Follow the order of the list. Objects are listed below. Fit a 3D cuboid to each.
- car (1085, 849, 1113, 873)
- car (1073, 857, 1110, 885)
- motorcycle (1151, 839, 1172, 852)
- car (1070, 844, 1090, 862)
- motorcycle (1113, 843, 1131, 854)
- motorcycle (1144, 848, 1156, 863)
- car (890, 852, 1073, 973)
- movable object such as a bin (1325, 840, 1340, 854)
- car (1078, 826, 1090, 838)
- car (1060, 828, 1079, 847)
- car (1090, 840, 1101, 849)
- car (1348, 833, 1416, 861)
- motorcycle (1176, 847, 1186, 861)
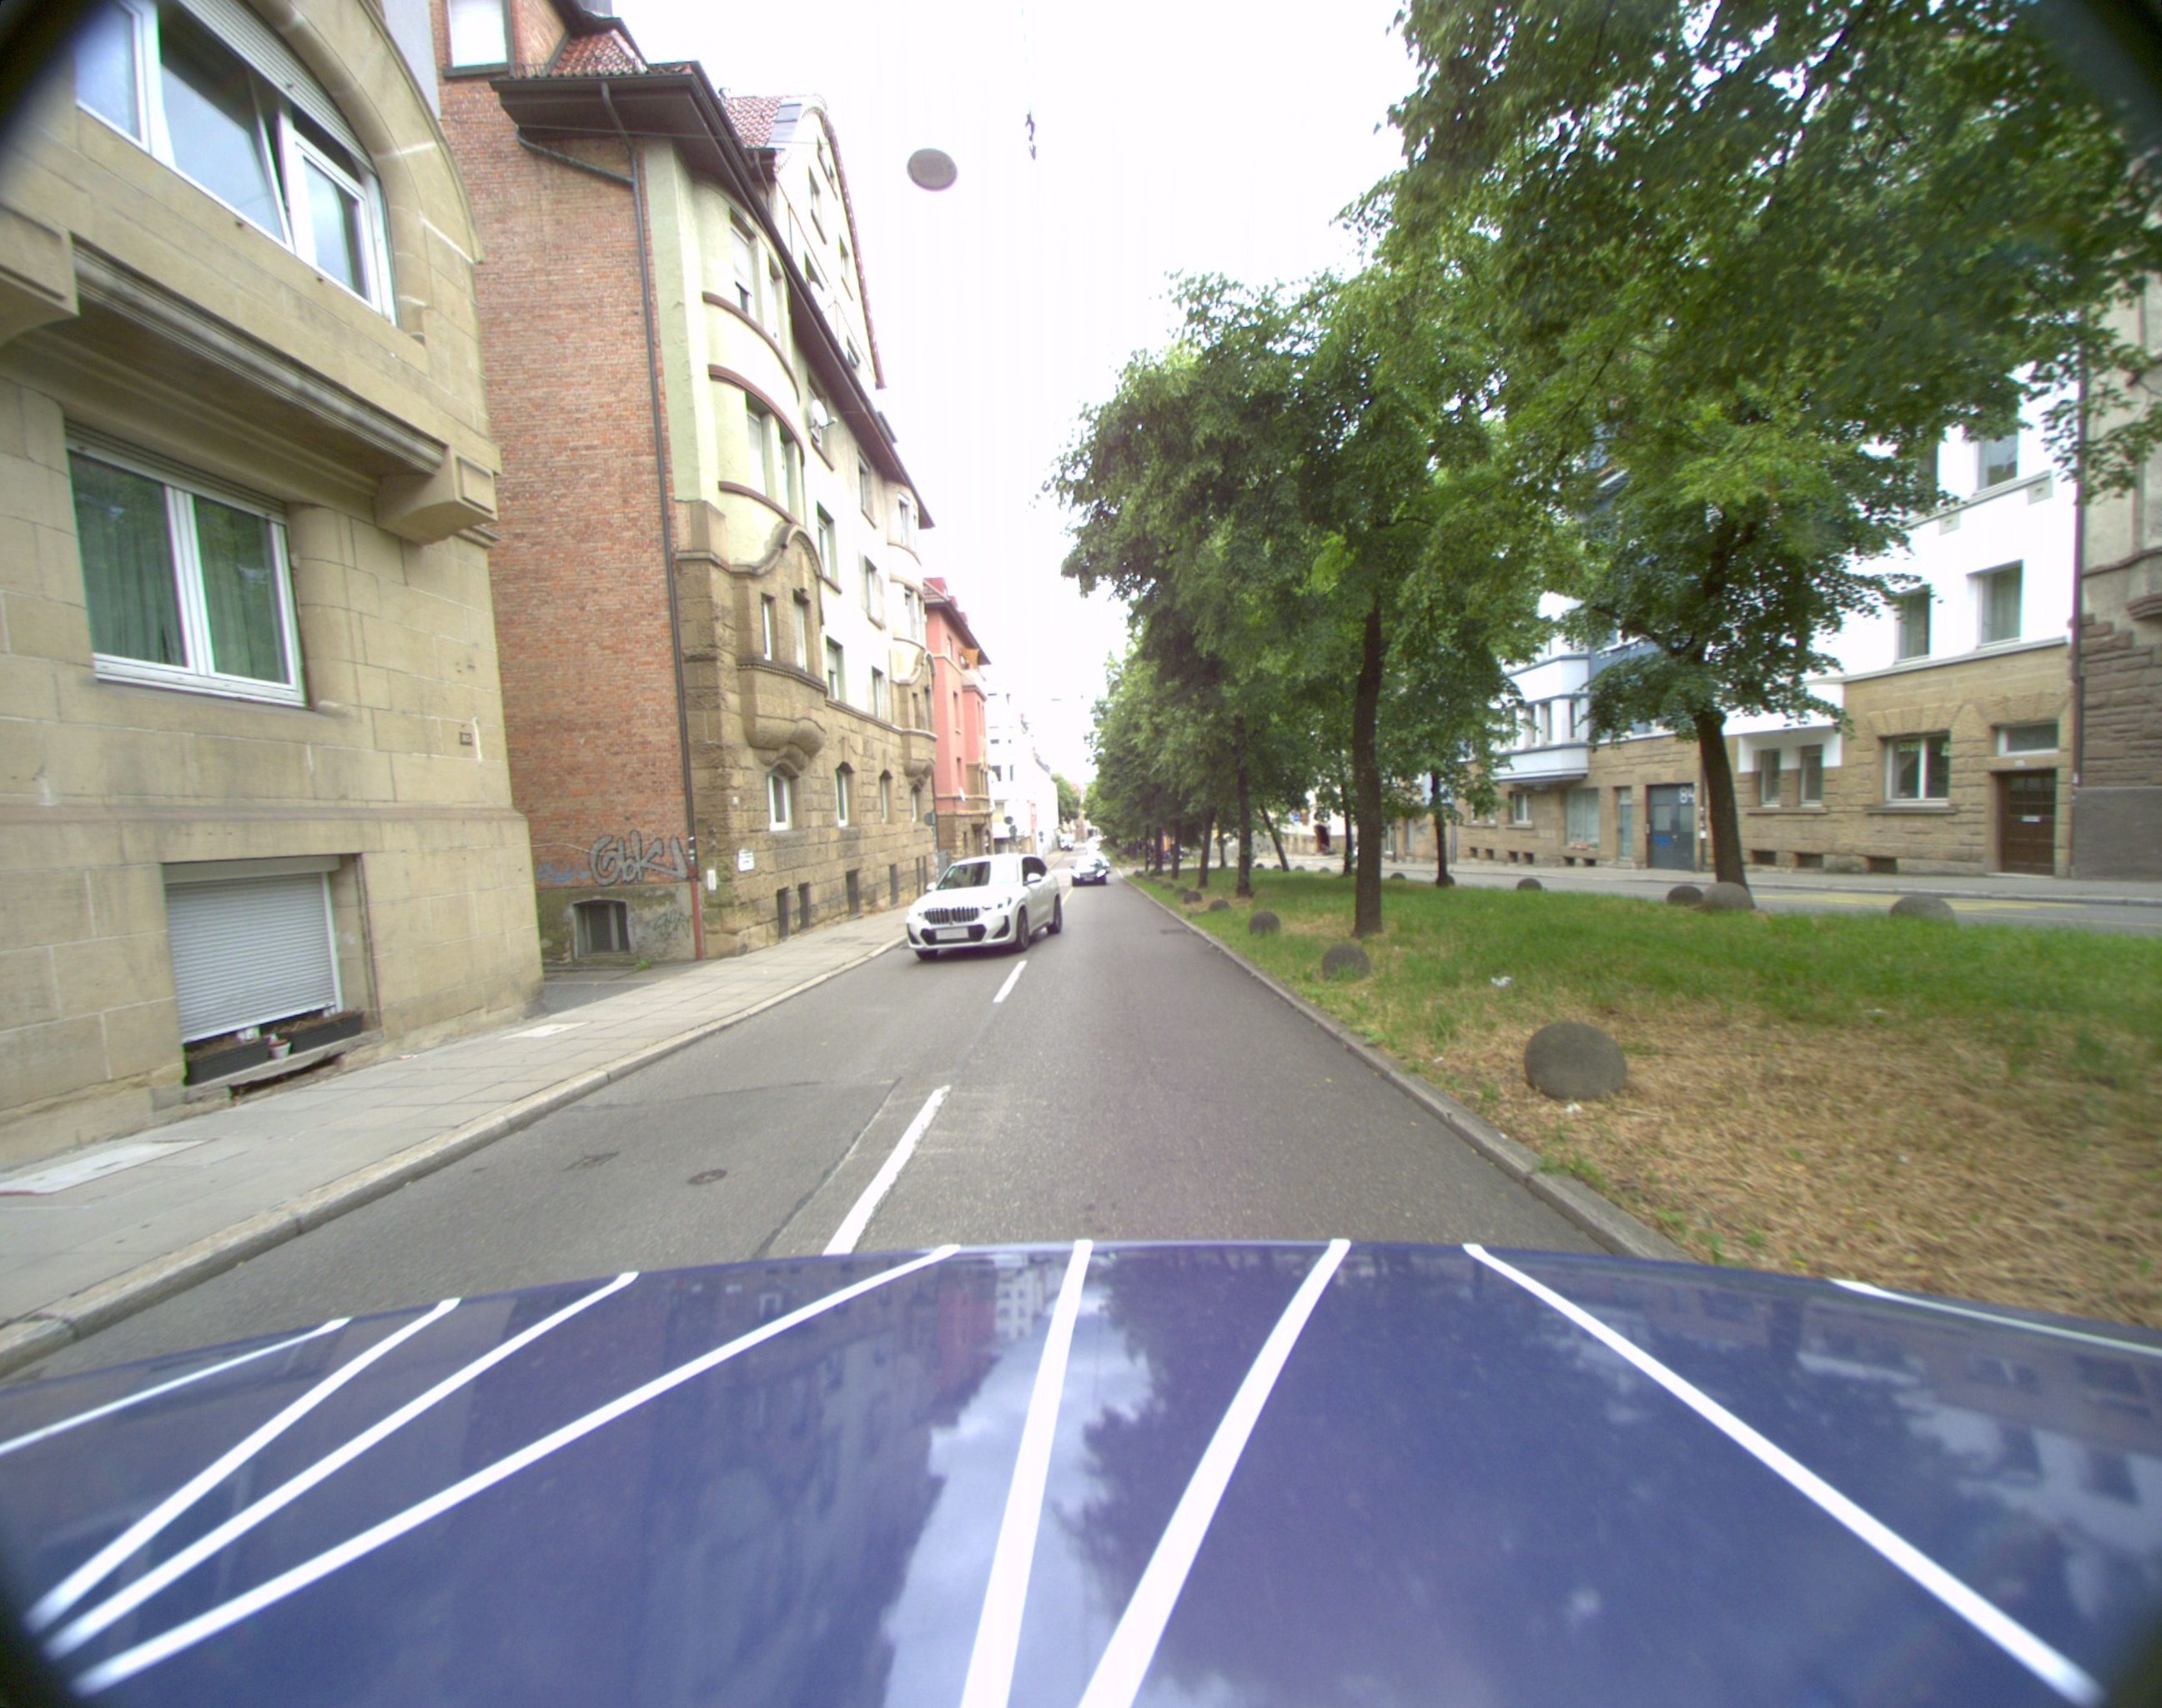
[{"bbox_3d":[1.301,0.489,56.490,1.854,1.616,4.281,-3,0,0],"label":"car"},{"bbox_3d":[0.556,0.880,41.372,1.854,1.361,4.281,-3,0,0],"label":"car"},{"bbox_3d":[9.820,-1.029,92.952,2.424,1.475,0.963,-2,4,1],"label":"motorcycle"},{"bbox_3d":[-0.059,-0.081,76.126,1.854,1.616,4.281,-3,0,0],"label":"car"},{"bbox_3d":[4.862,-0.623,89.629,2.041,1.126,0.454,-4,4,1],"label":"motorcycle"},{"bbox_3d":[5.834,0.126,64.245,0.888,1.090,2.481,-3,4,8],"label":"motorcycle"},{"bbox_3d":[-1.565,0.907,13.823,1.853,1.595,4.565,-5,1,10],"label":"car"},{"bbox_3d":[20.464,-0.581,61.890,0.888,0.988,0.668,-5,2,0],"label":"movable object such as a bin"},{"bbox_3d":[0.726,-5.880,202.966,3.026,3.045,7.165,-2,3,0],"label":"car"},{"bbox_3d":[-1.851,-2.812,128.861,3.026,3.045,7.165,-2,3,0],"label":"car"},{"bbox_3d":[2.287,-1.478,118.686,1.783,1.420,4.281,-1,0,1],"label":"car"},{"bbox_3d":[21.535,-0.532,54.500,4.007,1.462,1.870,-7,4,-1],"label":"car"},{"bbox_3d":[8.469,-0.001,64.326,0.750,1.068,1.851,-3,4,8],"label":"motorcycle"}]
